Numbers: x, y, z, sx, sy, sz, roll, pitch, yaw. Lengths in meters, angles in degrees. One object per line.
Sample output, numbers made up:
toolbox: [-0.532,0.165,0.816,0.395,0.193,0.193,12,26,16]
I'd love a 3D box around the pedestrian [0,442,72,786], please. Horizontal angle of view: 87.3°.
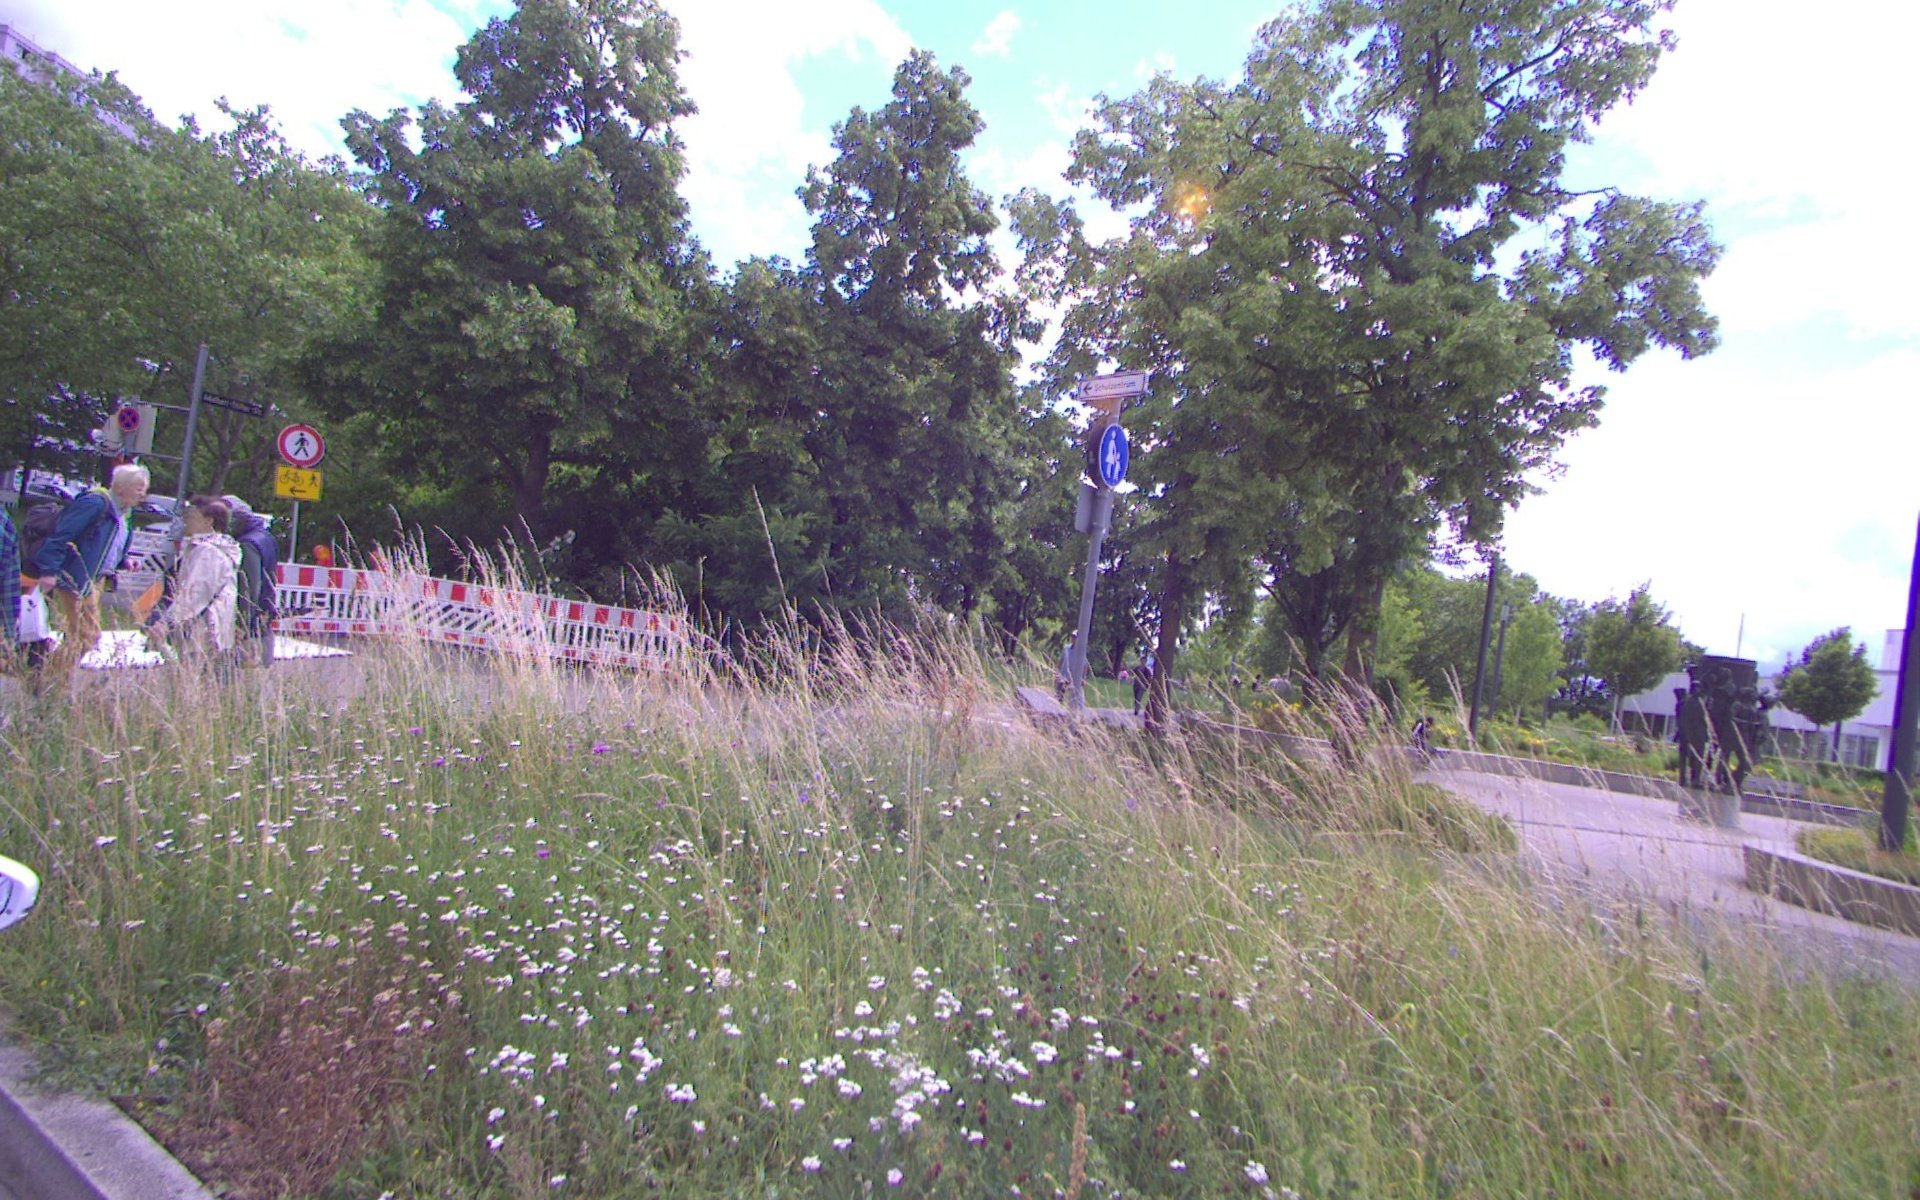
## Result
pedestrian: [-5.140,0.021,5.077,0.820,1.690,0.725,8,0,-42]

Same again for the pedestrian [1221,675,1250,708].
pedestrian: [14.738,4.905,53.840,1.135,1.572,0.818,8,-1,-2]

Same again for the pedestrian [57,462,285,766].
pedestrian: [-4.739,0.092,6.115,0.816,1.659,0.727,8,0,-30]

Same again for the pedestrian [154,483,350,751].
pedestrian: [-4.788,0.121,6.880,0.862,1.654,0.759,8,0,-31]

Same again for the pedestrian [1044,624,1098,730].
pedestrian: [2.085,1.428,18.928,0.757,1.862,0.765,7,-1,5]

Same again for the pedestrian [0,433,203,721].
pedestrian: [-6.167,-0.150,7.094,1.002,1.795,0.941,8,0,-29]

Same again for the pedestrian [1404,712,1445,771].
pedestrian: [10.717,3.252,23.189,0.623,1.236,0.618,7,-1,36]

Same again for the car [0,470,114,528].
car: [-43.789,-4.861,48.619,3.926,2.037,2.001,8,-1,0]

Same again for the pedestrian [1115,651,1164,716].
pedestrian: [4.953,2.308,27.733,0.879,1.647,0.817,8,0,30]

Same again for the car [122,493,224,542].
car: [-44.338,-4.622,56.739,3.926,2.037,2.001,8,-1,0]

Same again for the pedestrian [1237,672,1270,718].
pedestrian: [11.704,3.780,40.080,0.872,1.681,0.817,8,0,30]

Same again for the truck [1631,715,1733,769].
truck: [37.224,7.298,51.992,1.965,2.037,3.999,8,-1,-4]

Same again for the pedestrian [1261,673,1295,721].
pedestrian: [12.448,3.809,39.400,0.879,1.733,0.816,8,0,31]

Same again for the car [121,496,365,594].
car: [-19.810,-1.449,28.106,1.915,1.895,5.090,7,-2,28]

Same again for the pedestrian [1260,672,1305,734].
pedestrian: [11.633,3.718,36.272,1.137,2.037,0.817,8,0,30]
